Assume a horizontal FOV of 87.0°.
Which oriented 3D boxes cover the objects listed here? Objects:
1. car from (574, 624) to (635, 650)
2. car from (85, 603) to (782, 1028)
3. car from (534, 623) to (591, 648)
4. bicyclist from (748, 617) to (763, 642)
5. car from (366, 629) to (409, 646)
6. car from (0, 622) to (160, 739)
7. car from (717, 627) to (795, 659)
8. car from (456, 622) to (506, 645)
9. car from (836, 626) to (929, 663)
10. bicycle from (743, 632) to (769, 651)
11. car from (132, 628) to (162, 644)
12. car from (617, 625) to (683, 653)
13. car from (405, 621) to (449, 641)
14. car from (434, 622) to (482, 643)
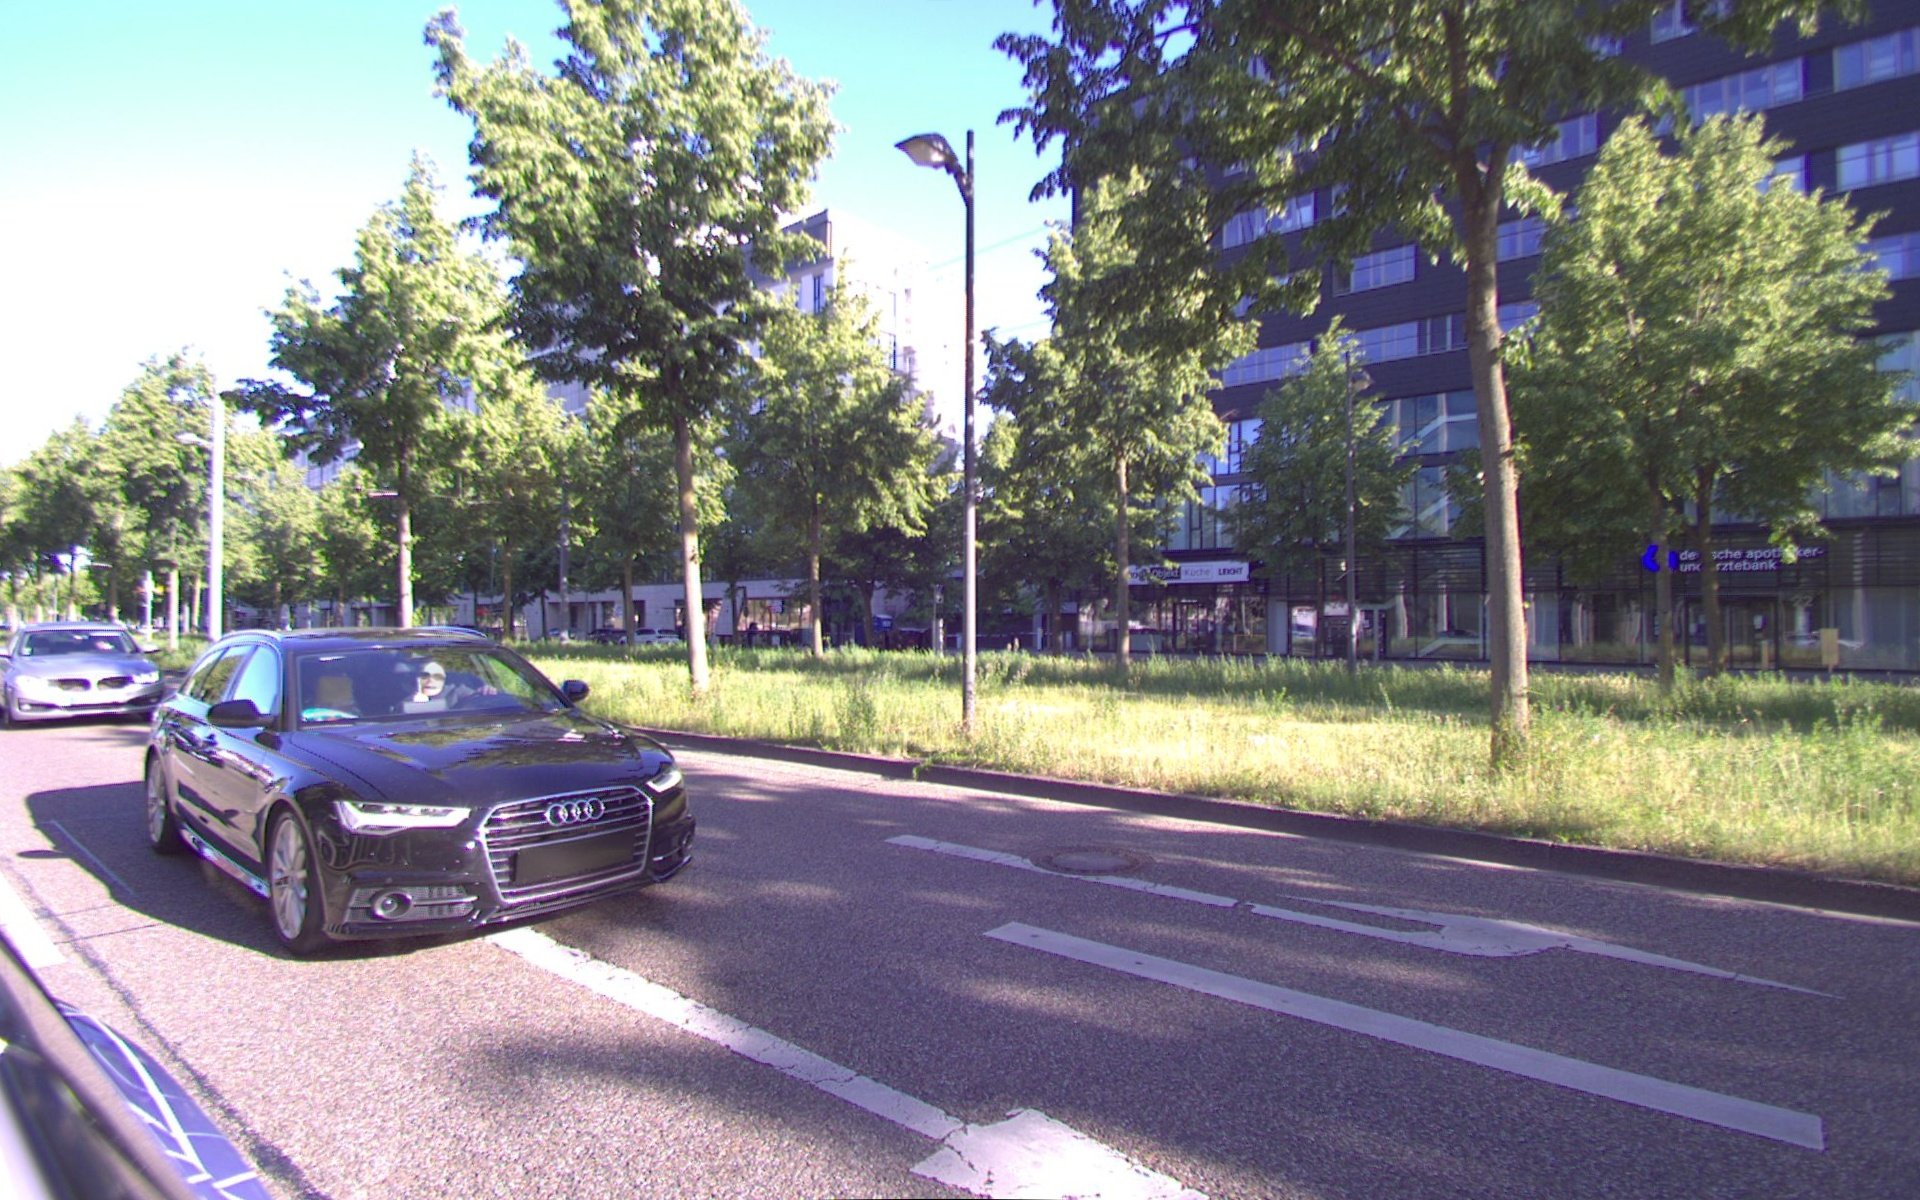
[{"bbox_3d":[-22.563,2.336,64.212,4.181,1.609,1.859,-1,-1,41],"label":"car"},{"bbox_3d":[-3.366,0.803,5.894,4.963,1.495,1.855,-1,-1,40],"label":"car"},{"bbox_3d":[-26.596,2.376,67.620,4.181,1.609,1.859,-1,-1,41],"label":"car"},{"bbox_3d":[-11.747,1.681,58.059,0.820,1.435,0.472,-1,-2,41],"label":"bicyclist"},{"bbox_3d":[-50.091,3.290,88.537,3.995,1.406,1.974,-1,-2,39],"label":"car"},{"bbox_3d":[-13.671,1.087,15.154,4.558,1.495,1.800,-1,-1,40],"label":"car"},{"bbox_3d":[-10.801,2.231,53.425,4.181,1.609,1.926,-1,-1,41],"label":"car"},{"bbox_3d":[-35.547,2.466,75.116,4.181,1.609,1.859,-1,-1,41],"label":"car"},{"bbox_3d":[-3.608,2.004,46.567,4.181,1.609,1.926,-1,-1,41],"label":"car"},{"bbox_3d":[-11.701,2.388,58.008,1.755,1.043,0.472,-1,-2,41],"label":"bicycle"},{"bbox_3d":[-89.265,3.962,111.113,3.998,1.694,1.870,-1,-1,41],"label":"car"},{"bbox_3d":[-18.546,2.303,60.404,4.181,1.609,1.859,-1,-1,41],"label":"car"},{"bbox_3d":[-43.473,2.532,82.509,4.181,1.609,1.859,-1,-1,41],"label":"car"},{"bbox_3d":[-39.013,2.490,78.618,4.181,1.609,1.859,-1,-1,41],"label":"car"}]
